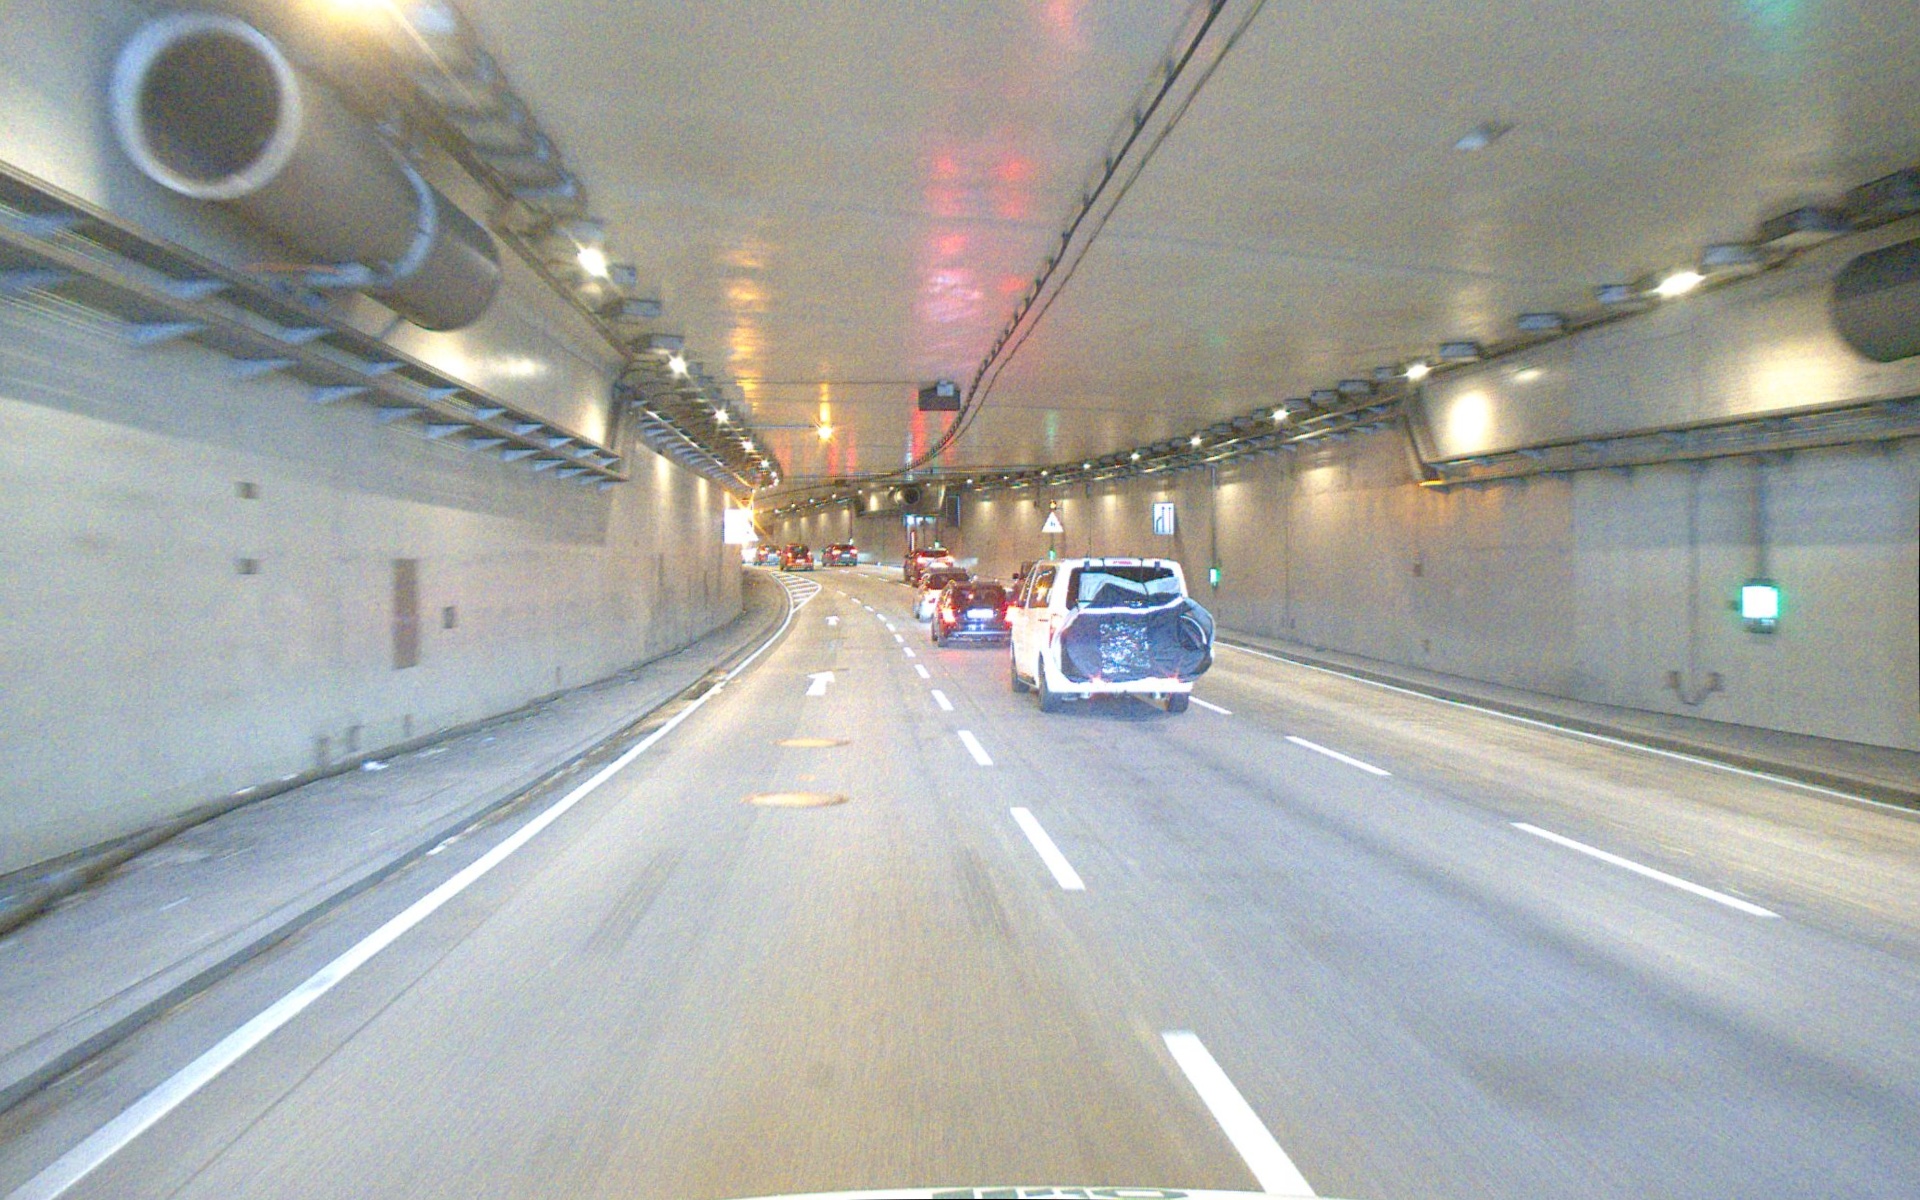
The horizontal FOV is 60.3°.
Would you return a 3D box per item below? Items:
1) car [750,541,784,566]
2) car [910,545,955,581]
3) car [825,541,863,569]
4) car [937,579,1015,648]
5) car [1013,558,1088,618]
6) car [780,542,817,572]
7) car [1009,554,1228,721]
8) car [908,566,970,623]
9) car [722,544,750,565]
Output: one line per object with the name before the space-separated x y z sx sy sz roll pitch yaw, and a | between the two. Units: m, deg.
car | -13.288 -3.187 113.675 1.792 1.658 3.829 0 0 -14
car | -1.324 -1.719 77.899 1.574 1.658 3.347 0 0 -10
car | -7.351 -2.841 104.221 1.791 1.658 3.830 0 0 -14
car | 0.316 0.269 36.594 1.571 1.419 3.276 0 1 -3
car | 2.773 -0.362 51.436 1.836 1.792 3.997 1 0 -4
car | -9.479 -2.491 96.886 1.790 1.658 3.832 0 0 -12
car | 1.866 0.384 21.284 1.954 1.879 5.297 0 1 -4
car | -0.648 -0.193 49.373 1.572 1.621 3.352 0 1 -6
car | -18.304 -3.686 135.109 1.793 1.658 3.827 0 0 -16
